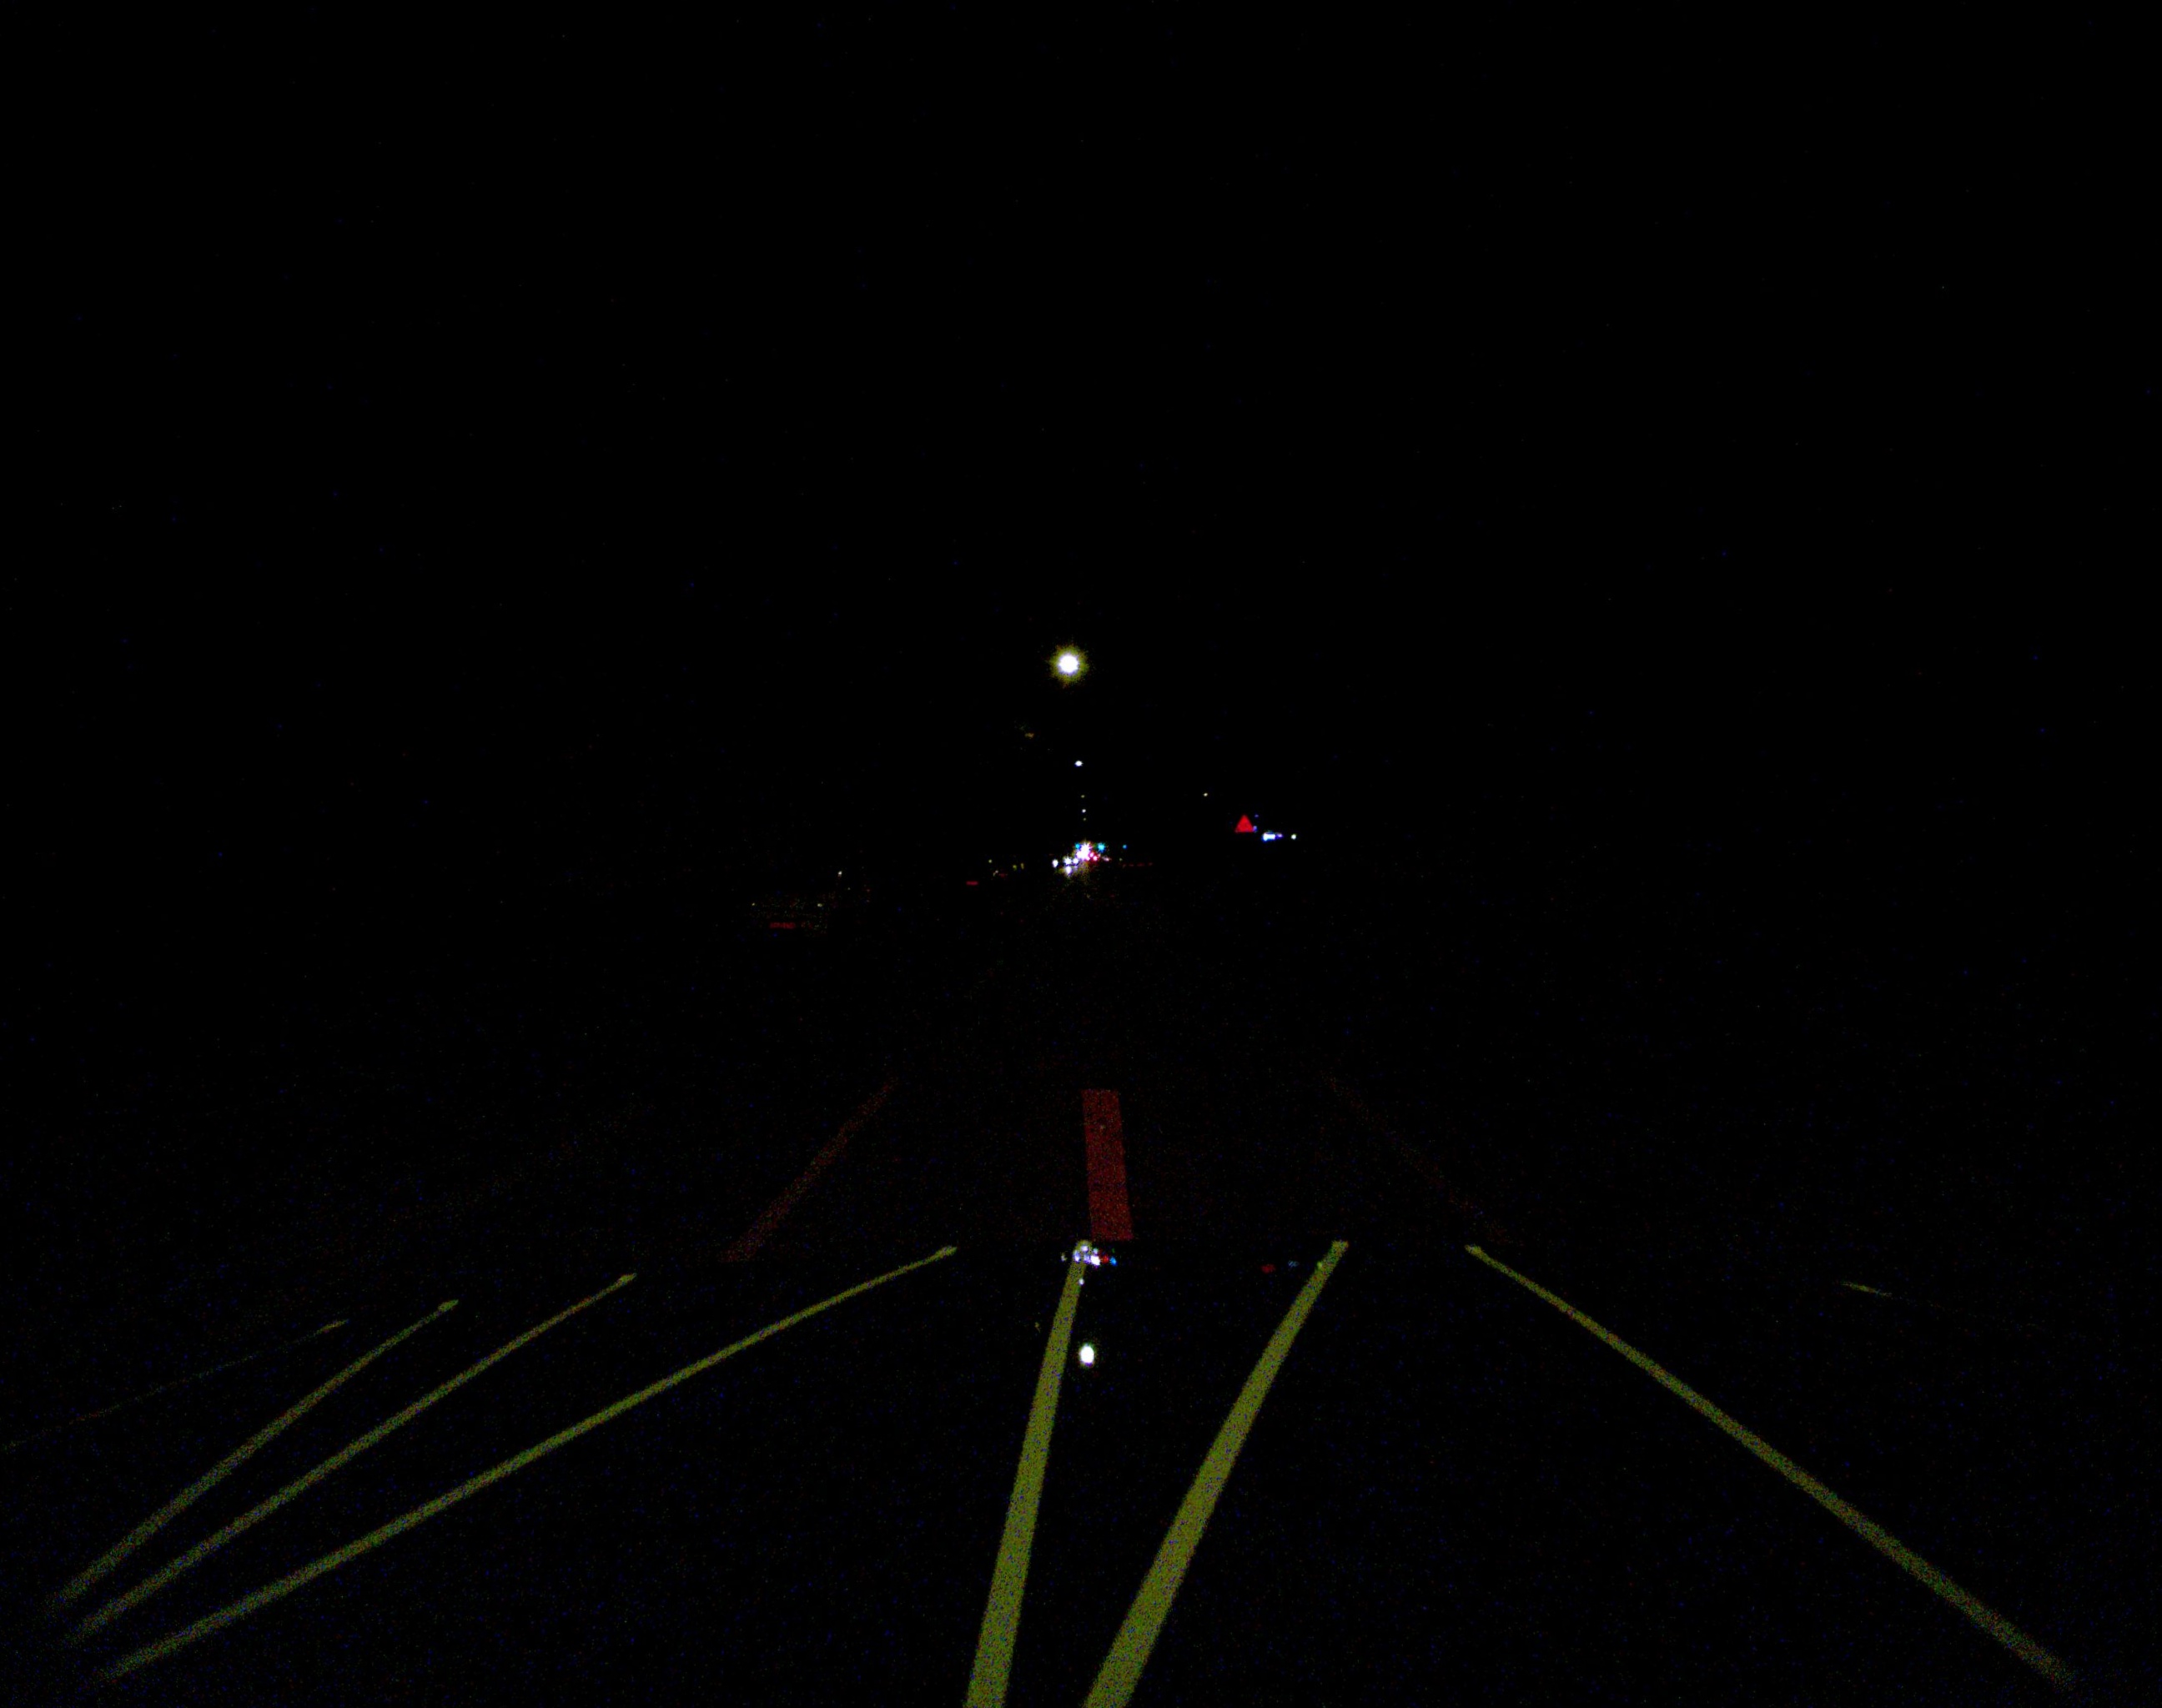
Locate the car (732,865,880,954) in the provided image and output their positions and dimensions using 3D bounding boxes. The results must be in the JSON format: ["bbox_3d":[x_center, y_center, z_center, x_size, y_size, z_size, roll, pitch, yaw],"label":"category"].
[{"bbox_3d":[-5.277,1.005,15.038,1.611,1.500,3.486,0,0,1],"label":"car"}]

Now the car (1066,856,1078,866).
[{"bbox_3d":[-1.535,1.261,134.428,1.998,1.718,3.803,-2,1,1],"label":"car"}]

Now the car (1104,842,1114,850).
[{"bbox_3d":[5.725,-1.597,154.024,1.903,1.581,3.661,-2,1,2],"label":"car"}]

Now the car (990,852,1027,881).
[{"bbox_3d":[-4.464,0.749,47.471,1.852,1.643,4.179,-2,0,0],"label":"car"}]

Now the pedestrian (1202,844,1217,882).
[{"bbox_3d":[6.002,0.418,35.586,0.565,1.750,0.500,-2,1,1],"label":"pedestrian"}]

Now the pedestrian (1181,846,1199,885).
[{"bbox_3d":[4.999,0.509,34.791,0.673,1.750,0.500,-2,1,1],"label":"pedestrian"}]

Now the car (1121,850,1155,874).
[{"bbox_3d":[3.885,0.511,52.072,1.998,1.477,3.999,-3,1,1],"label":"car"}]

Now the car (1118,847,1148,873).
[{"bbox_3d":[3.869,0.398,56.935,1.998,1.772,3.999,-2,1,1],"label":"car"}]

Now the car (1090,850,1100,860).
[{"bbox_3d":[2.461,0.190,136.792,1.754,1.433,3.487,-2,-2,1],"label":"car"}]

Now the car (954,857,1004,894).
[{"bbox_3d":[-4.473,0.903,33.938,1.742,1.489,3.890,-1,0,-1],"label":"car"}]

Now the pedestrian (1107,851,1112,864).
[{"bbox_3d":[4.418,0.513,118.170,0.804,2.002,0.940,-2,1,1],"label":"pedestrian"}]
